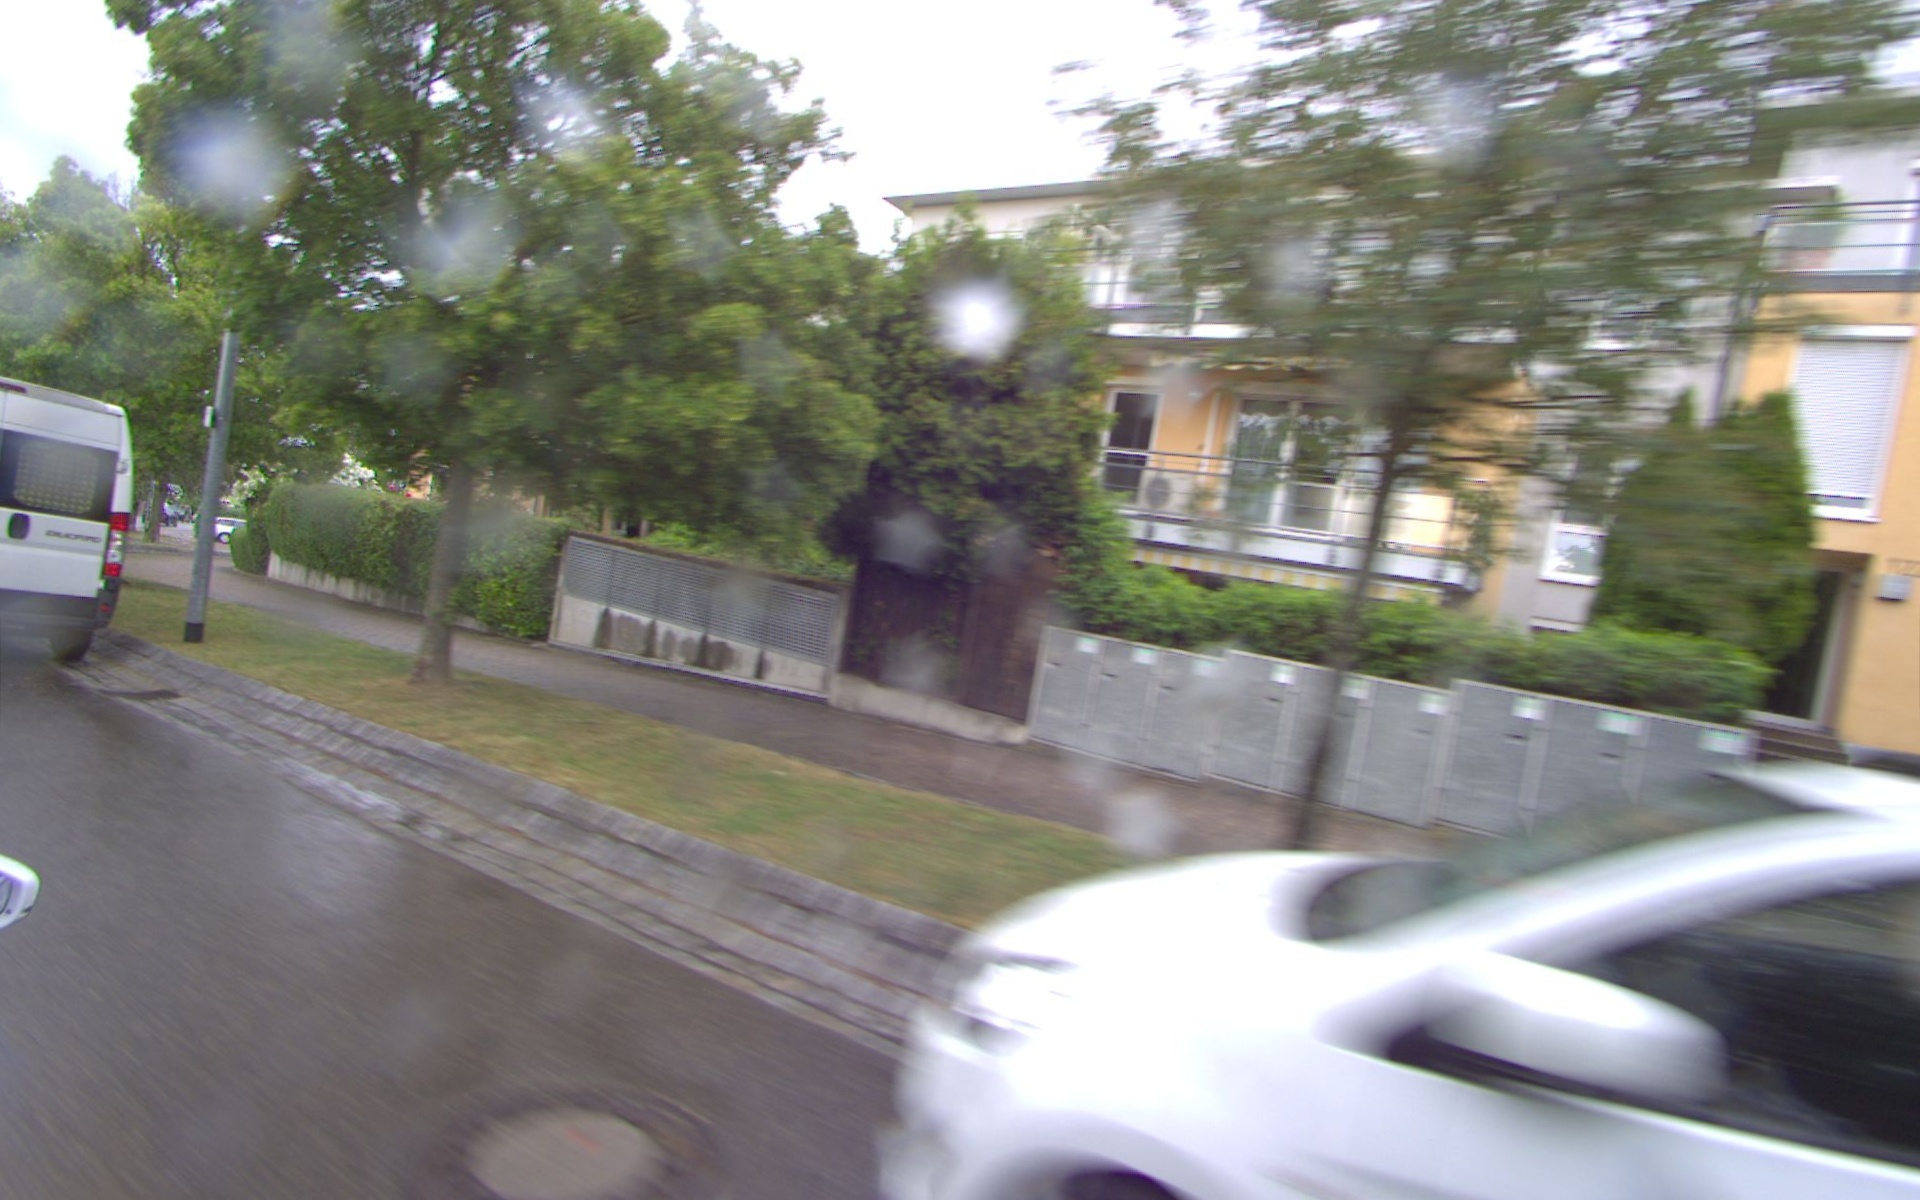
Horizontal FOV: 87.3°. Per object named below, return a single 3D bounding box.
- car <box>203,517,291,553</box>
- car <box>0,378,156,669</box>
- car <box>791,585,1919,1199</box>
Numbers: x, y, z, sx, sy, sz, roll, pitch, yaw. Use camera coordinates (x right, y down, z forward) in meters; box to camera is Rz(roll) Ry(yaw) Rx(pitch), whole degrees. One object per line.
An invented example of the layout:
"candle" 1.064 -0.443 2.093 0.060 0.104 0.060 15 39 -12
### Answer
"car" -42.334 -3.848 59.832 4.065 1.586 1.983 7 0 -33
"car" -10.620 -0.943 10.337 5.424 2.497 2.119 7 -1 36
"car" 1.667 0.986 1.839 3.664 1.520 1.608 7 -1 32
